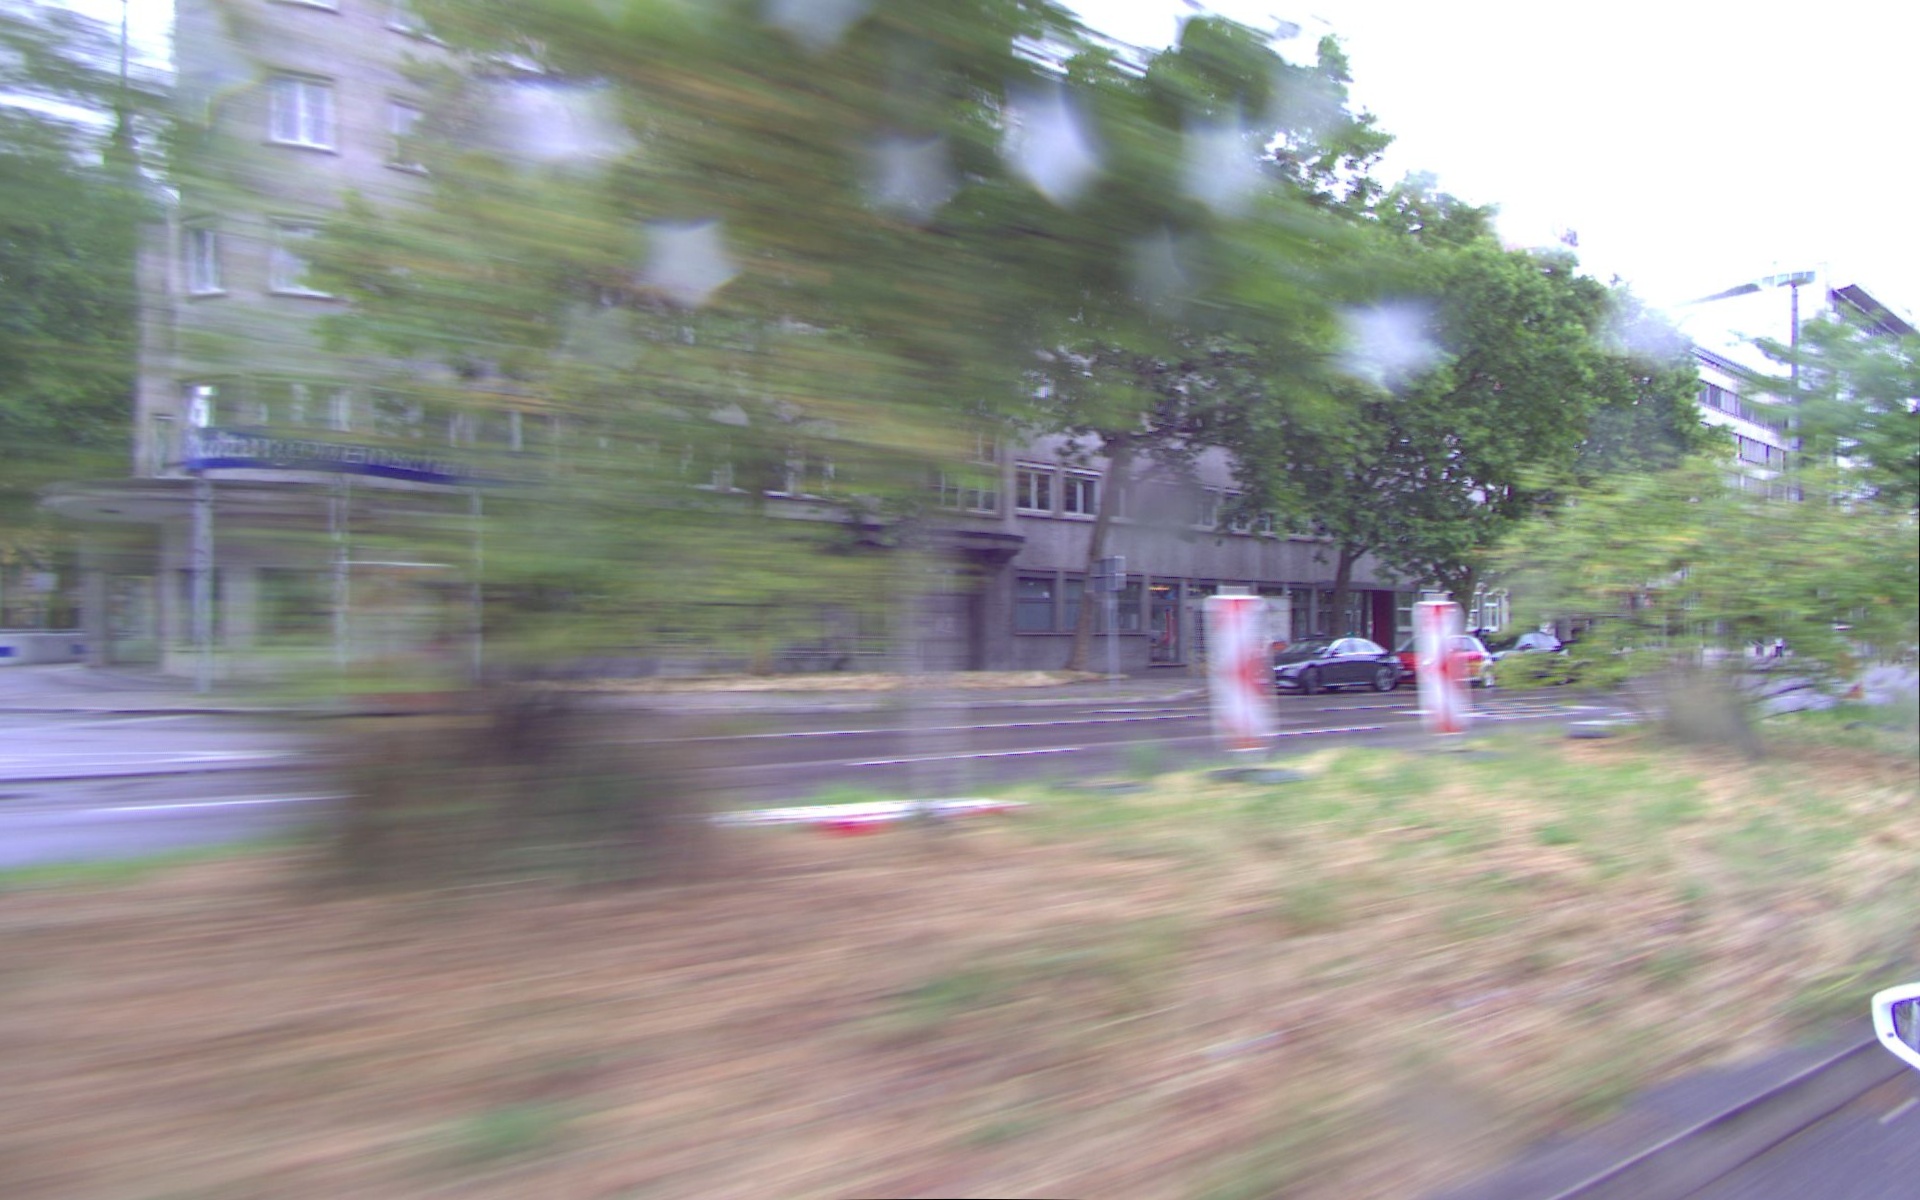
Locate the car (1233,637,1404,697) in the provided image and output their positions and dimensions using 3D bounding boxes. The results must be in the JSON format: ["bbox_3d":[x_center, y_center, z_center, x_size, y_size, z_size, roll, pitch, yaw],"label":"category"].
[{"bbox_3d":[9.439,1.726,26.328,4.621,1.453,1.759,2,-4,-33],"label":"car"}]

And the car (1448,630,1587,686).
[{"bbox_3d":[17.823,1.845,32.051,4.790,1.674,1.759,2,-4,-33],"label":"car"}]

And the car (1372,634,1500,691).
[{"bbox_3d":[13.709,1.791,28.887,3.588,1.539,1.677,2,-5,-34],"label":"car"}]
